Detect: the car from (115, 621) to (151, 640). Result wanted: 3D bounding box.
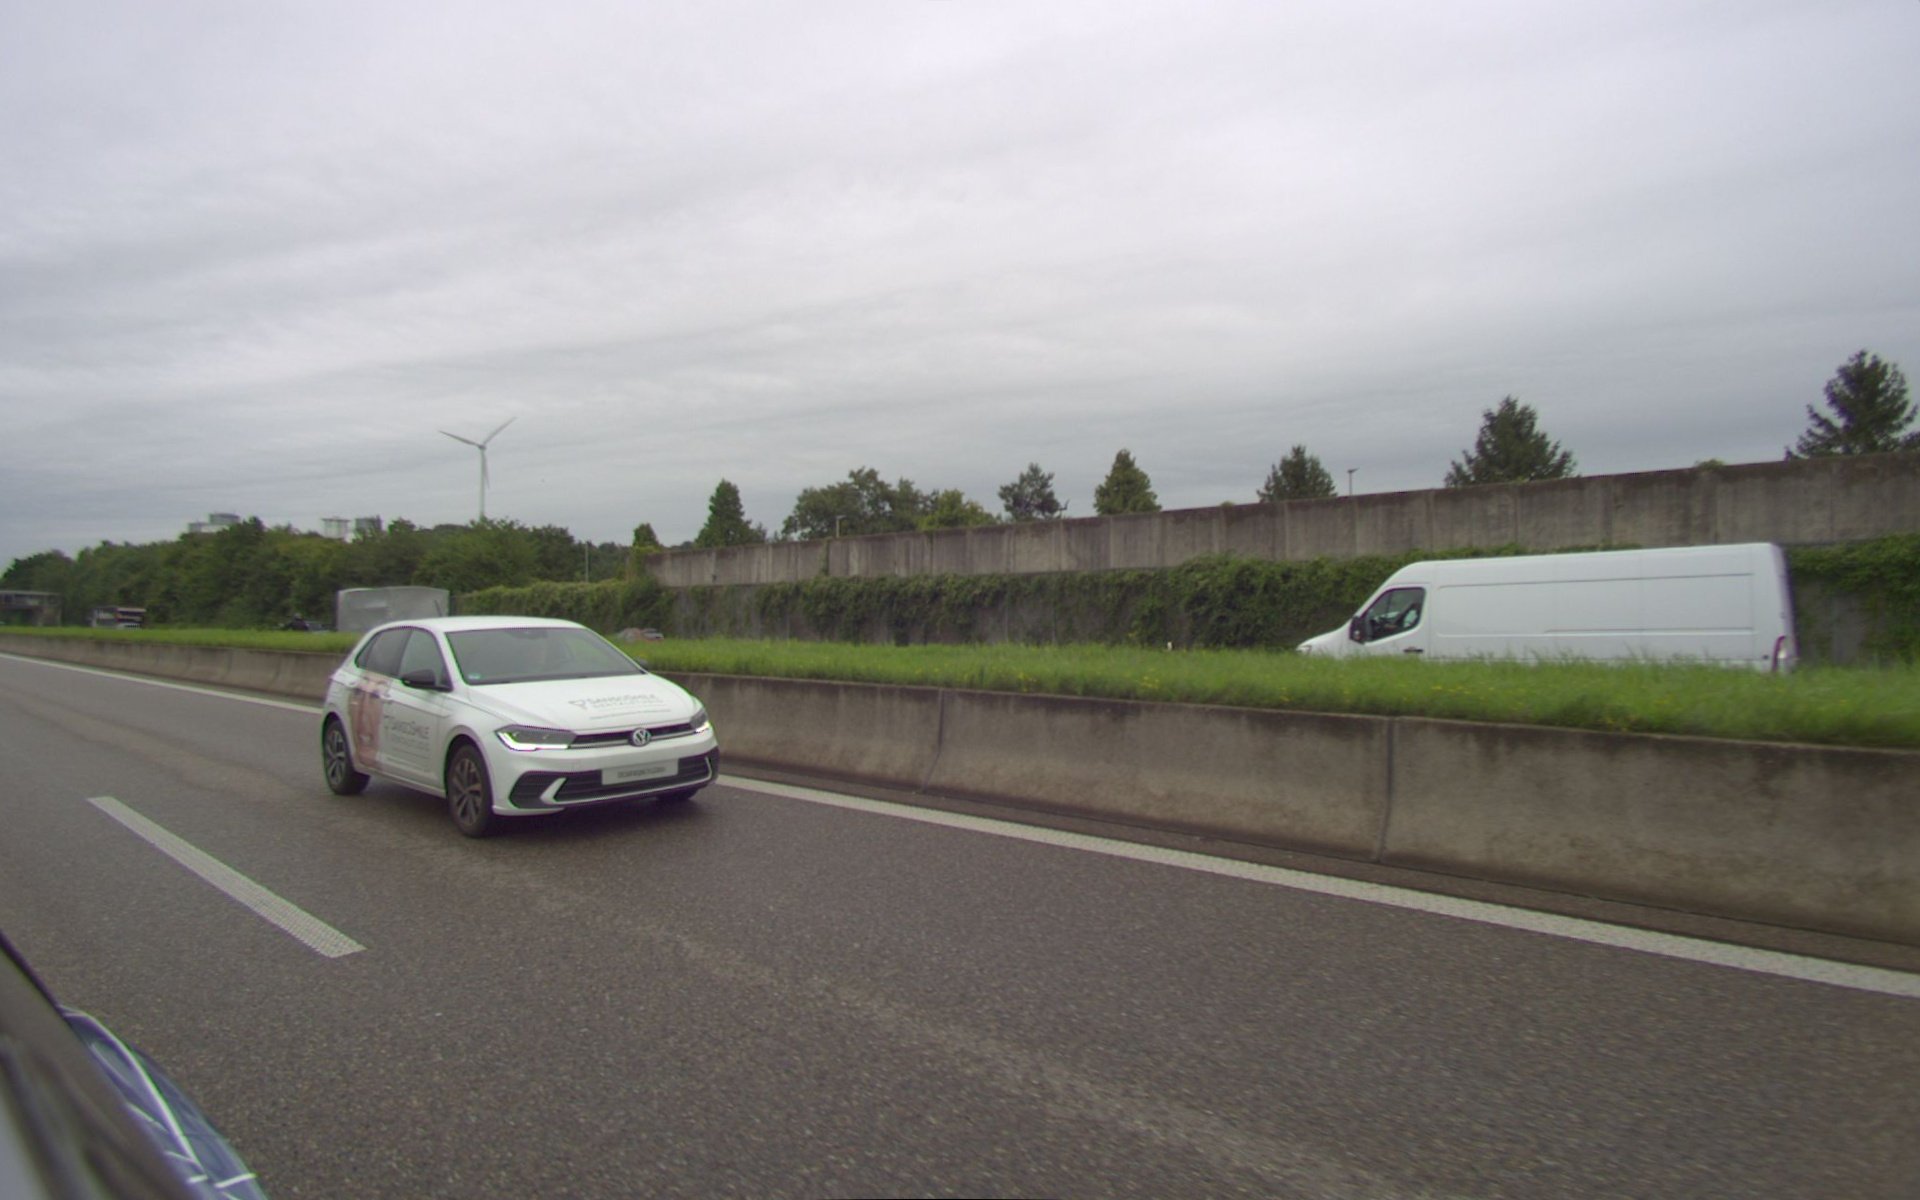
[{"bbox_3d":[-76.265,2.791,93.312,4.290,1.645,1.765,-1,0,40],"label":"car"}]

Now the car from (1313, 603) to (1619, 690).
[{"bbox_3d":[8.838,0.767,17.910,4.524,1.354,1.860,-1,-1,41],"label":"car"}]

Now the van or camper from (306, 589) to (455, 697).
[{"bbox_3d":[-23.648,1.612,41.070,8.398,3.978,2.680,-1,0,41],"label":"van or camper"}]

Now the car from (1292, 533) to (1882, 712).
[{"bbox_3d":[8.128,0.263,13.835,6.531,1.926,2.104,-1,0,42],"label":"car"}]

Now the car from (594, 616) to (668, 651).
[{"bbox_3d":[-15.795,1.570,48.488,4.068,1.619,1.601,-1,0,42],"label":"car"}]

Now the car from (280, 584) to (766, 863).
[{"bbox_3d":[-3.709,0.773,8.117,4.661,1.630,1.735,-1,-2,41],"label":"car"}]

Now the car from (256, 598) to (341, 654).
[{"bbox_3d":[-25.495,0.974,38.934,3.999,2.029,1.749,-1,0,42],"label":"car"}]

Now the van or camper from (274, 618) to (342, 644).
[{"bbox_3d":[-50.800,2.373,78.762,8.431,1.814,2.169,-1,0,41],"label":"van or camper"}]

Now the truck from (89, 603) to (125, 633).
[{"bbox_3d":[-98.646,2.076,116.957,6.580,3.297,2.291,-1,0,42],"label":"truck"}]

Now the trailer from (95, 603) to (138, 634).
[{"bbox_3d":[-94.002,2.036,112.712,10.560,3.314,2.281,-1,0,42],"label":"trailer"}]
